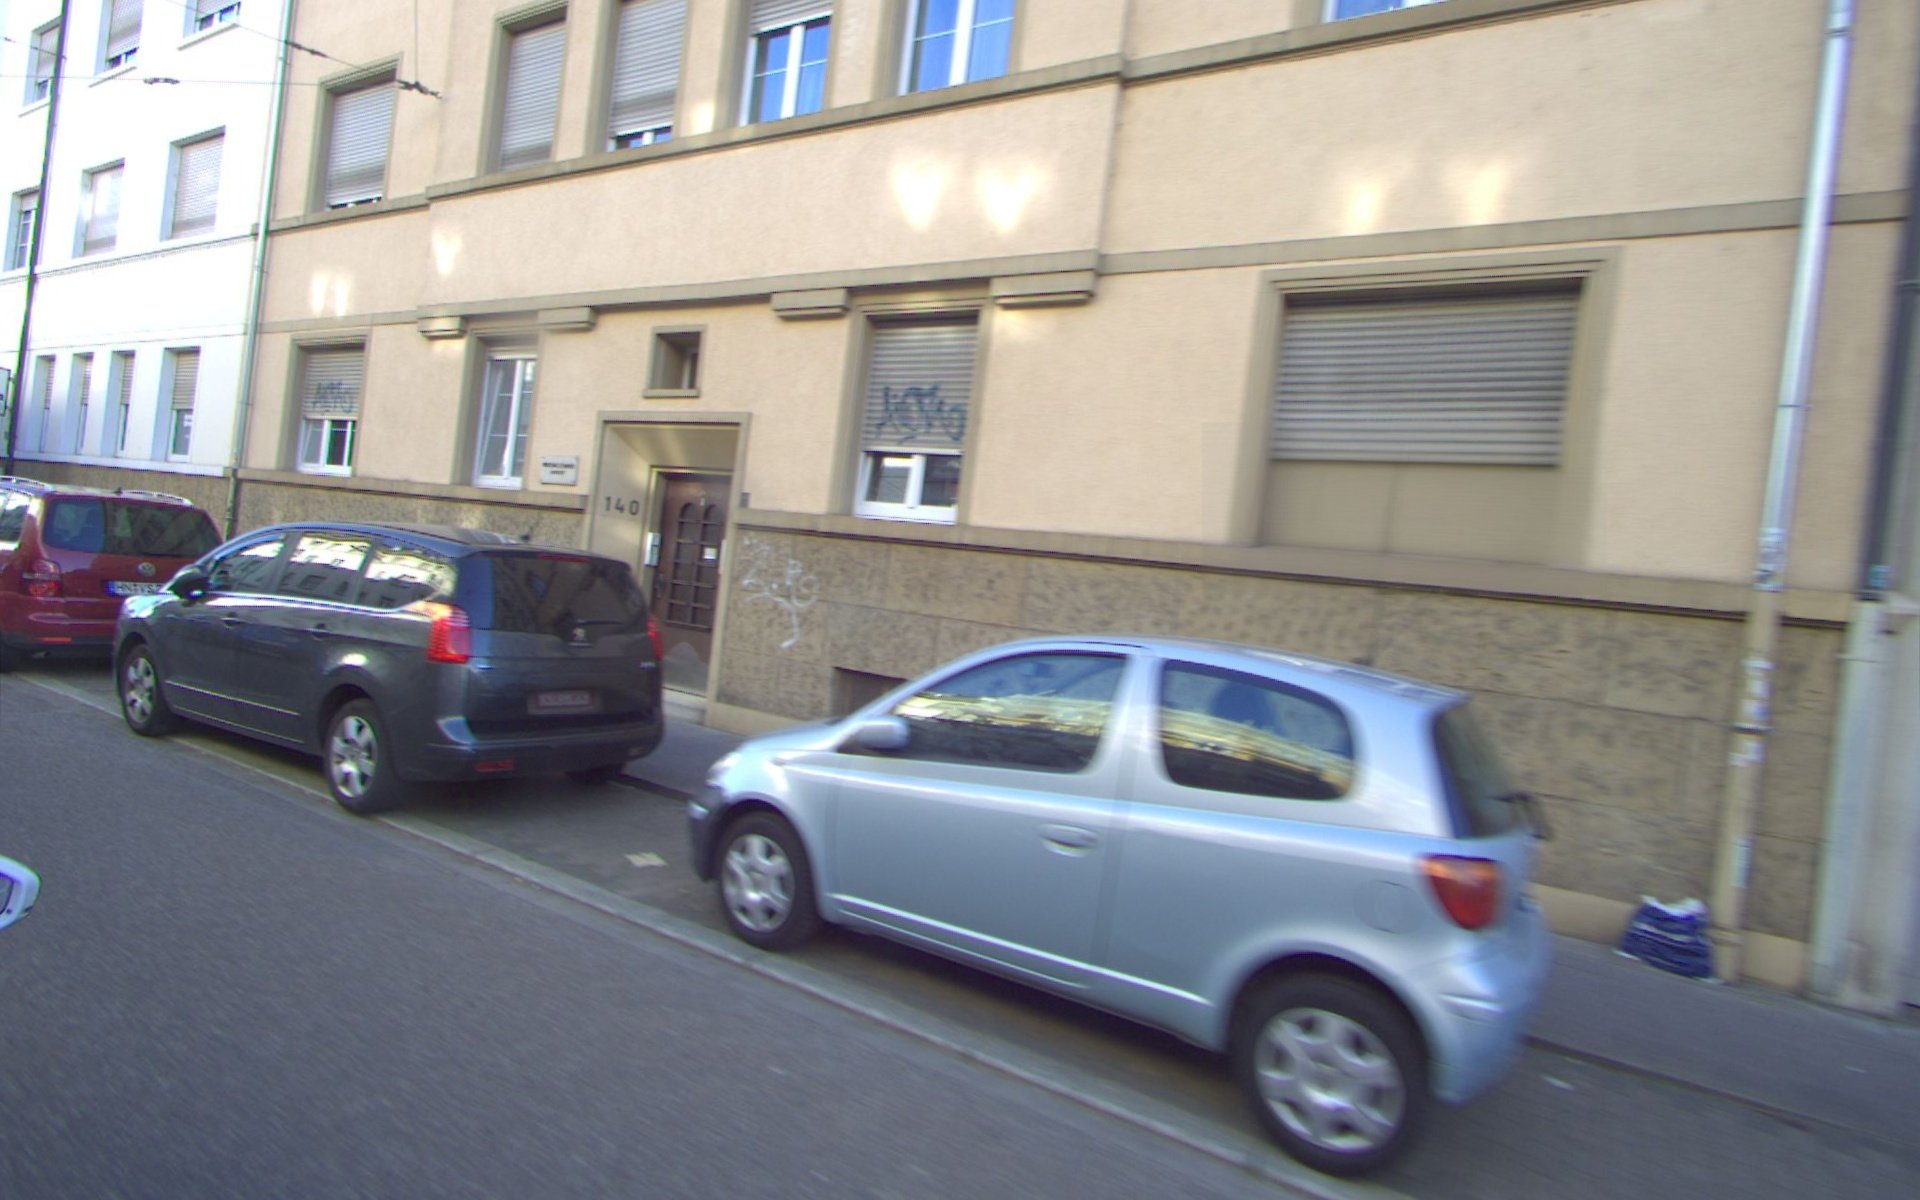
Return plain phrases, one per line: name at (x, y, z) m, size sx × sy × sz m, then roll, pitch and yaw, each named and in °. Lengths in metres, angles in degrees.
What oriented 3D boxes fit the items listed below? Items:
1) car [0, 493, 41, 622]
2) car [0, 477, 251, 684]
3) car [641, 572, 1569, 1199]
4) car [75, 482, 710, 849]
car at (-13.101, -0.718, 12.347) m, size 3.815 × 1.482 × 1.584 m, roll 7°, pitch 1°, yaw 31°
car at (-8.884, -0.316, 9.703) m, size 4.174 × 1.629 × 1.594 m, roll 7°, pitch 1°, yaw 29°
car at (0.498, 0.834, 4.275) m, size 3.422 × 1.482 × 1.610 m, roll 7°, pitch 1°, yaw 32°
car at (-4.019, 0.261, 6.944) m, size 4.292 × 1.672 × 1.792 m, roll 7°, pitch 1°, yaw 30°
